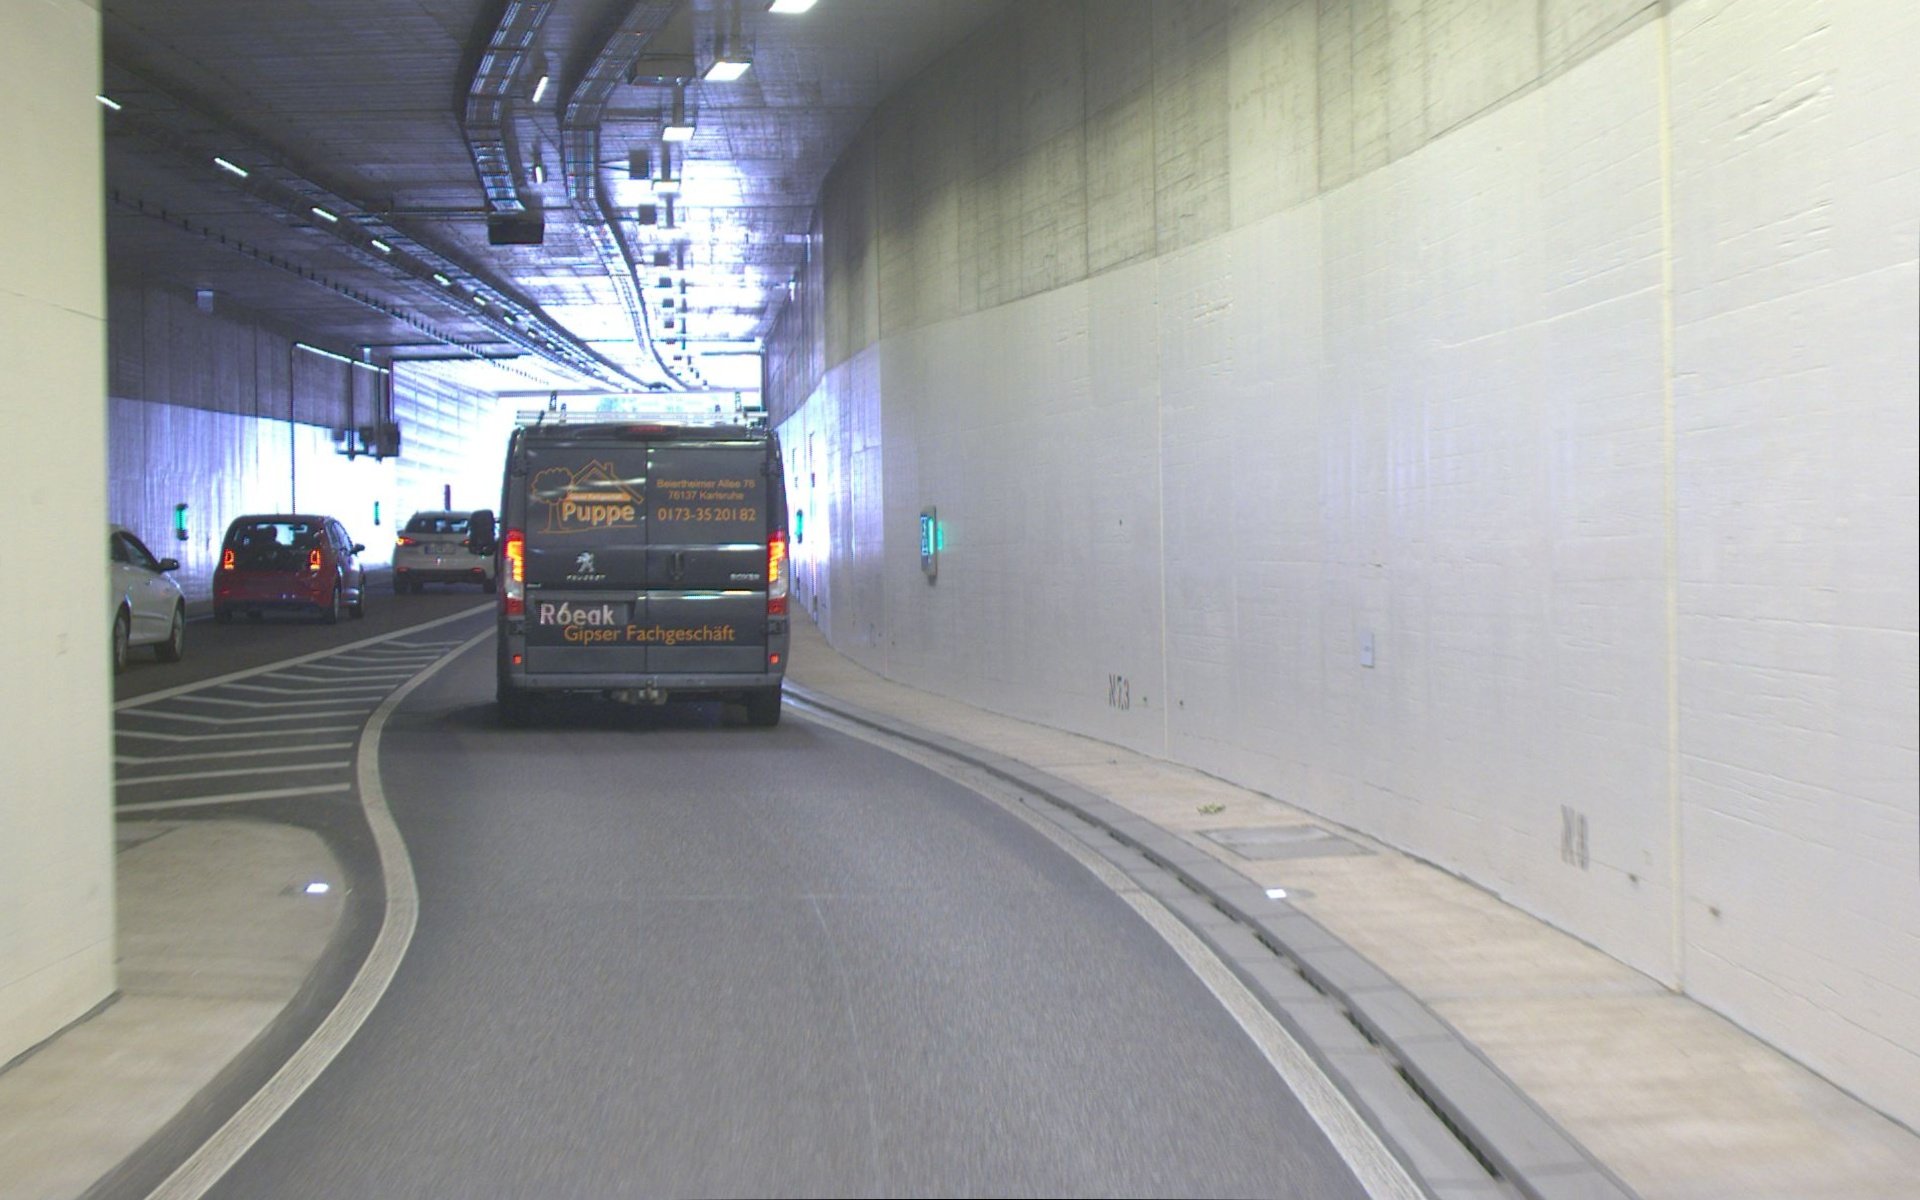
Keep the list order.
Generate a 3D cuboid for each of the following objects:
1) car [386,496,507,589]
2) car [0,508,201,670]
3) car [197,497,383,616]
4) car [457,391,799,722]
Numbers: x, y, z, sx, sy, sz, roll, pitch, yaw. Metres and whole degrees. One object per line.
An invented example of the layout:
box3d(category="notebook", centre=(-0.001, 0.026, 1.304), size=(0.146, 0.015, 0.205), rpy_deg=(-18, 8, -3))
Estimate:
box3d(category="car", centre=(-9.142, -1.015, 61.448), size=(1.876, 1.576, 4.221), rpy_deg=(1, 1, -5))
box3d(category="car", centre=(-8.543, -0.153, 33.073), size=(1.709, 1.408, 3.975), rpy_deg=(2, 2, -2))
box3d(category="car", centre=(-9.105, -0.632, 46.995), size=(1.814, 1.507, 4.221), rpy_deg=(1, 2, -2))
box3d(category="car", centre=(-2.609, -0.373, 25.959), size=(2.158, 2.258, 4.638), rpy_deg=(0, 2, -10))
